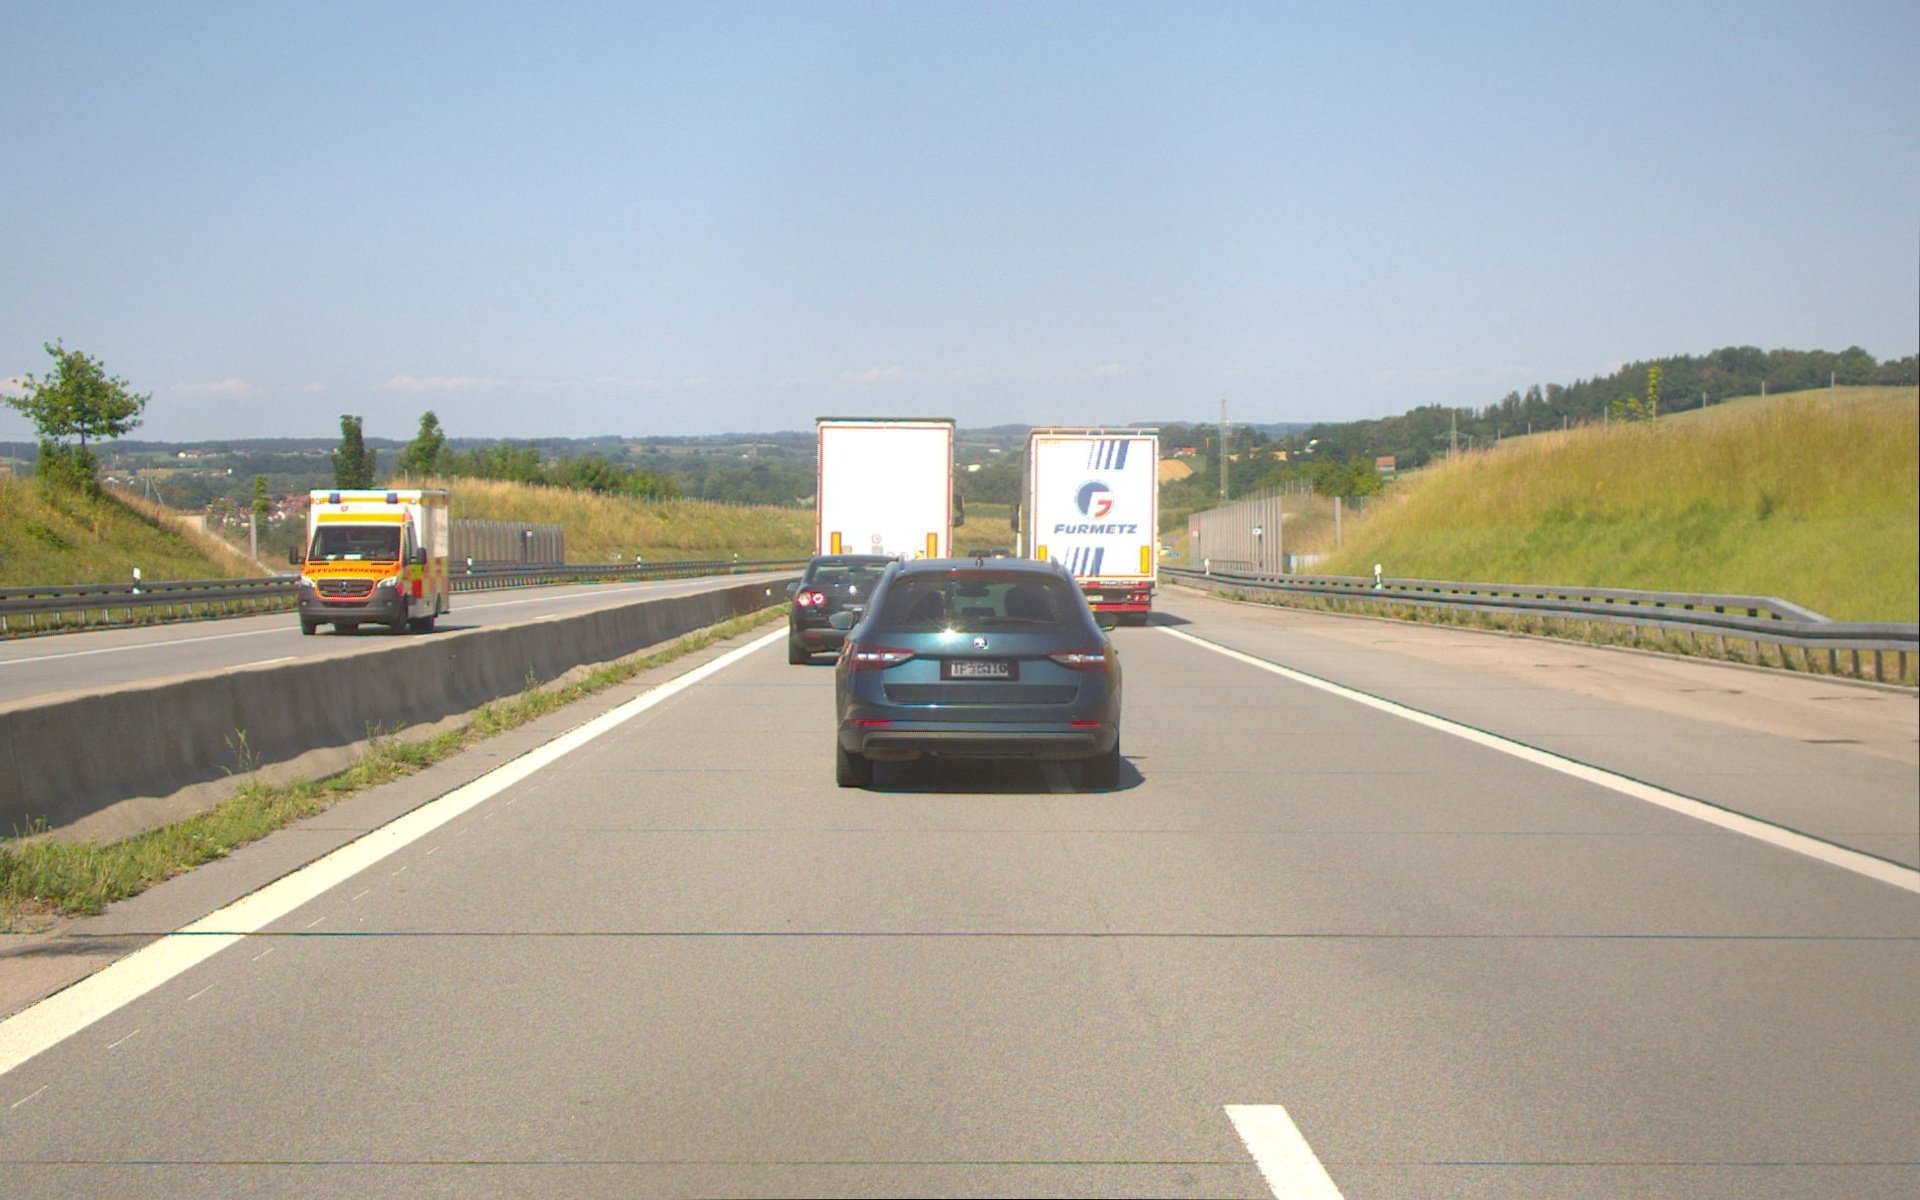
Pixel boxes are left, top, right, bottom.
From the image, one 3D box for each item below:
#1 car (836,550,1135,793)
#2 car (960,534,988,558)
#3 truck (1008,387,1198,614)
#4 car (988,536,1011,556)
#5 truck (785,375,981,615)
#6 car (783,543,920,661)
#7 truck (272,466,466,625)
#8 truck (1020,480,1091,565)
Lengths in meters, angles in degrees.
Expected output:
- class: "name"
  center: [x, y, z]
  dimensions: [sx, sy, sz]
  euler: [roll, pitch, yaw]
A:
- class: "car"
  center: [0.087, 0.401, 22.474]
  dimensions: [1.776, 1.436, 3.789]
  euler: [0, 1, -2]
- class: "car"
  center: [0.852, -3.273, 209.330]
  dimensions: [1.700, 1.436, 4.000]
  euler: [0, 1, 0]
- class: "truck"
  center: [3.002, -2.081, 73.899]
  dimensions: [3.604, 4.366, 11.233]
  euler: [-2, 1, 2]
- class: "car"
  center: [2.877, -3.942, 251.881]
  dimensions: [1.700, 1.436, 4.000]
  euler: [0, 1, 0]
- class: "truck"
  center: [-1.407, -2.073, 69.936]
  dimensions: [3.211, 4.366, 11.233]
  euler: [-2, 1, 2]
- class: "car"
  center: [-1.469, -0.006, 46.111]
  dimensions: [1.700, 1.436, 4.000]
  euler: [-2, 1, -2]
- class: "truck"
  center: [-11.664, -1.091, 68.420]
  dimensions: [2.774, 3.011, 6.793]
  euler: [0, 1, -1]
- class: "truck"
  center: [5.231, -4.245, 188.631]
  dimensions: [3.604, 4.366, 11.233]
  euler: [-2, 1, 2]
